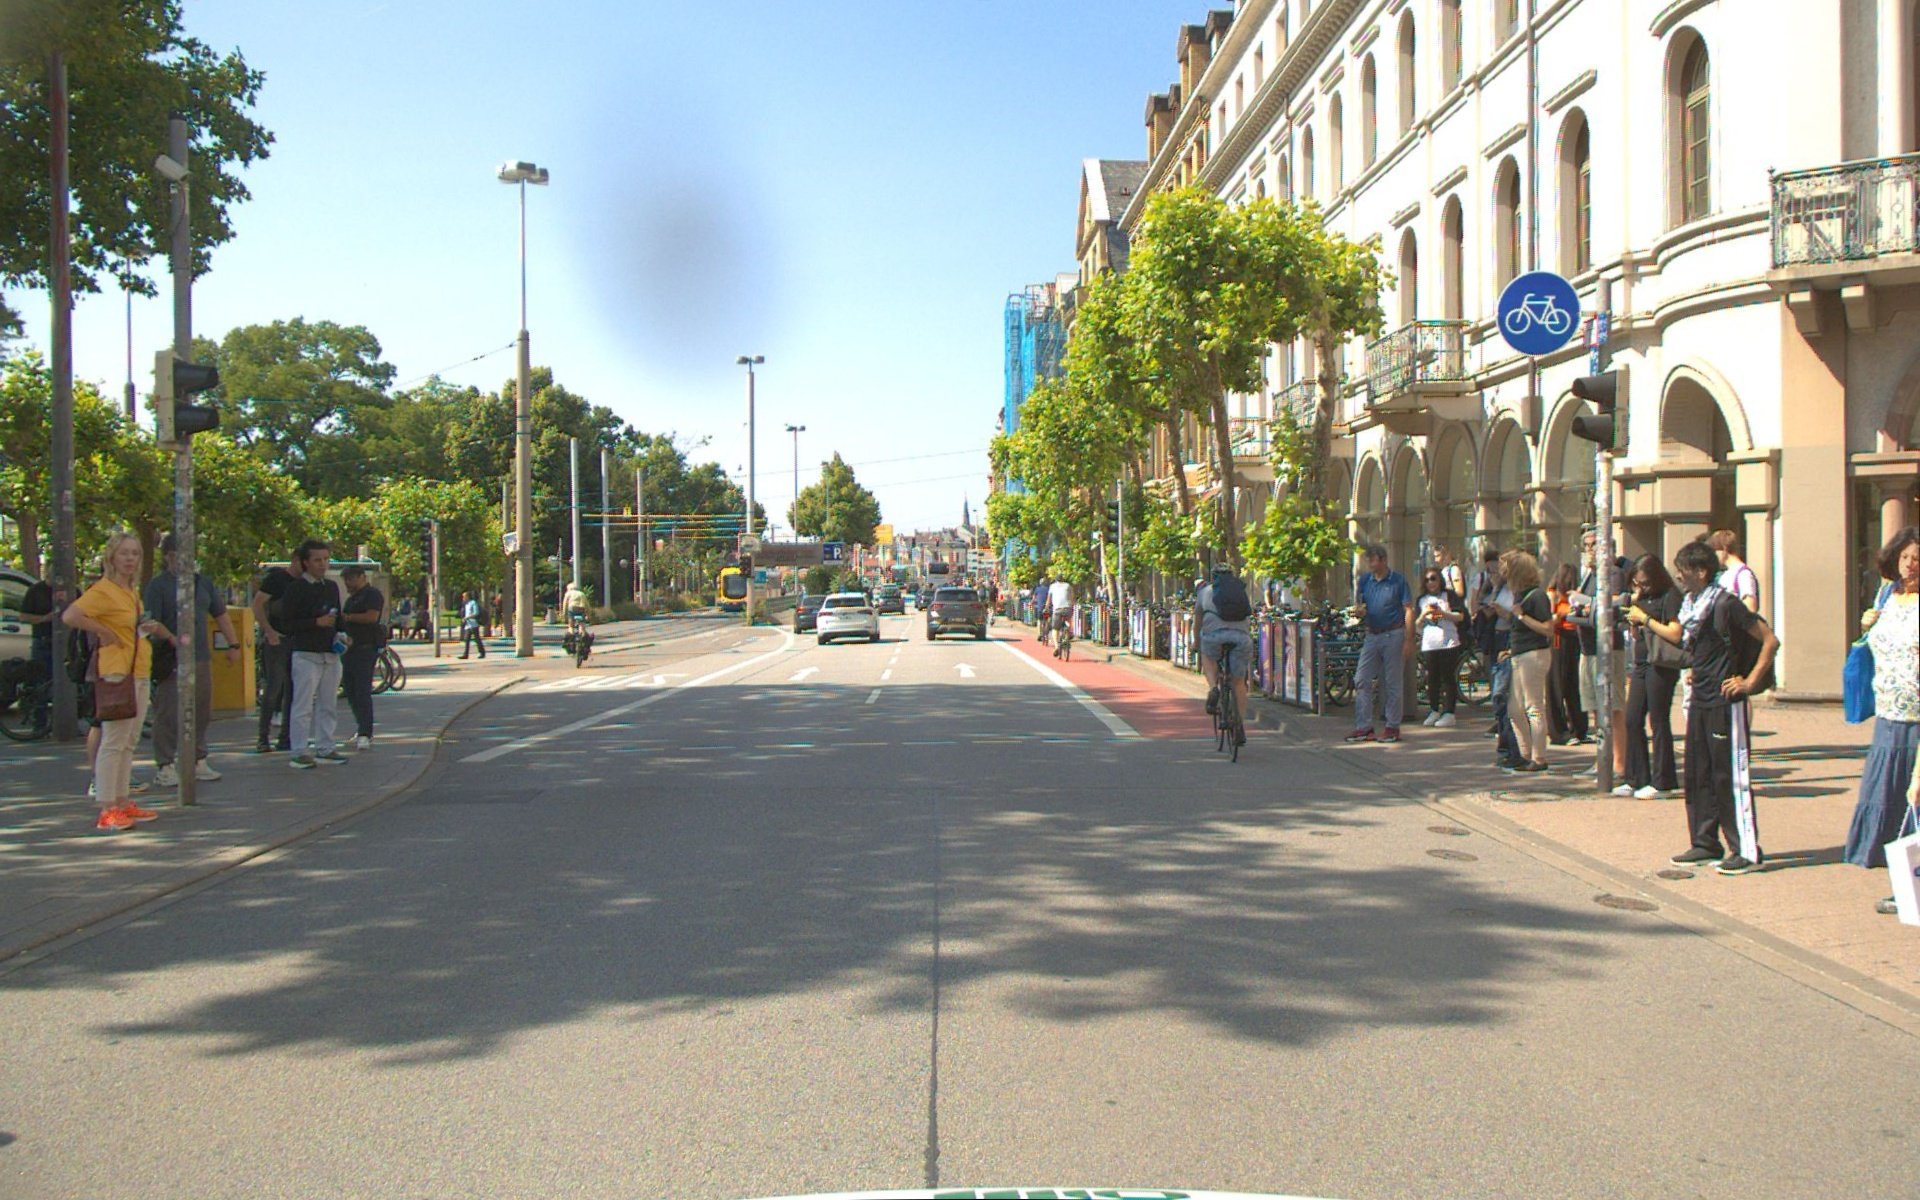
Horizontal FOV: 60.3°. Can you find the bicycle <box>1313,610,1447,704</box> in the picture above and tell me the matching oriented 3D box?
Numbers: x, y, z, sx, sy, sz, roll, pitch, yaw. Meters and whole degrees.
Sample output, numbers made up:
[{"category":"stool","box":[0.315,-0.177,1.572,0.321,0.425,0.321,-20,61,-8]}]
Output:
[{"category":"bicycle","box":[4.783,0.647,18.874,1.391,0.997,0.445,-2,1,-1]}]

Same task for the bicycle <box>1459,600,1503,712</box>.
[{"category":"bicycle","box":[5.779,0.601,18.306,0.391,1.133,1.426,-1,2,19]}]

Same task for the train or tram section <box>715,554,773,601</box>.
[{"category":"train or tram section","box":[-16.648,-1.767,128.158,2.558,3.406,11.006,0,1,2]}]

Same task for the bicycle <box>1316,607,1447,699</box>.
[{"category":"bicycle","box":[4.922,0.613,19.338,1.391,0.997,0.445,-2,1,-1]}]

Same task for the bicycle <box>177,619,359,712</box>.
[{"category":"bicycle","box":[-8.898,0.831,21.339,2.046,1.108,0.682,-1,0,-13]}]

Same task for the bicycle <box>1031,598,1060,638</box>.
[{"category":"bicycle","box":[2.279,0.462,44.284,0.634,1.015,2.030,0,1,-1]}]

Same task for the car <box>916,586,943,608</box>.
[{"category":"car","box":[-2.118,-0.213,113.975,1.808,1.438,3.999,-1,1,-2]}]

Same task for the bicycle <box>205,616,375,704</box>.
[{"category":"bicycle","box":[-9.155,0.810,22.660,2.046,1.108,0.682,-1,0,-13]}]

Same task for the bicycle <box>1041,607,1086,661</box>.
[{"category":"bicycle","box":[2.145,0.689,34.596,0.758,1.023,2.329,-1,1,-1]}]

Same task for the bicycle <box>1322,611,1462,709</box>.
[{"category":"bicycle","box":[4.703,0.649,18.049,1.391,0.997,0.445,-2,1,-1]}]

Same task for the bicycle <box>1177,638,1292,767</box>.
[{"category":"bicycle","box":[2.413,0.875,14.767,0.617,0.997,2.088,0,0,-2]}]

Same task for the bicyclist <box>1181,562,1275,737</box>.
[{"category":"bicyclist","box":[2.403,0.423,14.927,0.617,1.507,1.198,0,0,-2]}]

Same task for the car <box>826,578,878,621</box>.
[{"category":"car","box":[-4.097,-0.038,63.269,1.808,1.587,3.999,-1,1,-2]}]

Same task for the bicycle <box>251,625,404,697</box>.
[{"category":"bicycle","box":[-9.488,0.906,24.881,2.046,0.997,0.682,-1,0,-13]}]

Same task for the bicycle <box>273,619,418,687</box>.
[{"category":"bicycle","box":[-9.663,0.824,26.066,2.046,0.997,0.682,-1,0,-13]}]

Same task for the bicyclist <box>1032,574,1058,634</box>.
[{"category":"bicyclist","box":[2.274,0.097,44.471,0.634,1.578,0.817,0,1,-2]}]

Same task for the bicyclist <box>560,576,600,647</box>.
[{"category":"bicyclist","box":[-8.265,0.234,36.032,0.724,1.529,1.050,-1,1,-7]}]

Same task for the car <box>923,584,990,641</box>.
[{"category":"car","box":[-0.153,0.352,49.864,1.809,1.586,3.998,1,1,-3]}]

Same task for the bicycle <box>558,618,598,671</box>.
[{"category":"bicycle","box":[-8.239,0.945,35.728,0.664,1.044,1.964,0,1,-8]}]

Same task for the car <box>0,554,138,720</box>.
[{"category":"car","box":[-12.452,0.449,19.794,1.820,1.989,4.762,0,0,20]}]

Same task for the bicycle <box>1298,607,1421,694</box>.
[{"category":"bicycle","box":[4.892,0.612,20.285,1.391,0.997,0.445,-2,1,-1]}]

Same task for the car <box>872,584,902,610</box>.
[{"category":"car","box":[-4.537,-0.209,103.051,1.808,1.587,3.999,-1,1,-2]}]

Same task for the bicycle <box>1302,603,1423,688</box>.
[{"category":"bicycle","box":[5.036,0.568,20.723,1.391,0.997,0.401,-2,1,-1]}]

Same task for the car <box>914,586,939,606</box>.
[{"category":"car","box":[-2.530,-0.338,123.968,1.808,1.438,3.999,-1,1,-2]}]

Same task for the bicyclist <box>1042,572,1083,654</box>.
[{"category":"bicyclist","box":[2.136,0.265,34.571,0.759,1.663,0.851,-1,1,-1]}]

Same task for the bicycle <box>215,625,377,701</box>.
[{"category":"bicycle","box":[-9.471,0.889,23.656,2.046,0.997,0.682,-1,0,-13]}]

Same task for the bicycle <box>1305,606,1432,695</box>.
[{"category":"bicycle","box":[4.879,0.595,19.792,1.391,0.997,0.445,-2,1,-1]}]

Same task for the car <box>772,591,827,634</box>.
[{"category":"car","box":[-6.104,0.451,63.120,1.808,1.587,3.999,-1,1,-2]}]

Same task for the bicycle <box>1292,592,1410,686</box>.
[{"category":"bicycle","box":[4.990,0.495,21.148,1.391,1.133,0.401,-2,1,-1]}]

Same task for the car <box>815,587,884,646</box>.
[{"category":"car","box":[-3.238,0.455,49.306,1.808,1.587,4.000,-1,1,-1]}]

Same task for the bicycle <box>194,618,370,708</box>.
[{"category":"bicycle","box":[-8.991,0.824,22.012,2.046,1.108,0.682,-1,0,-13]}]
